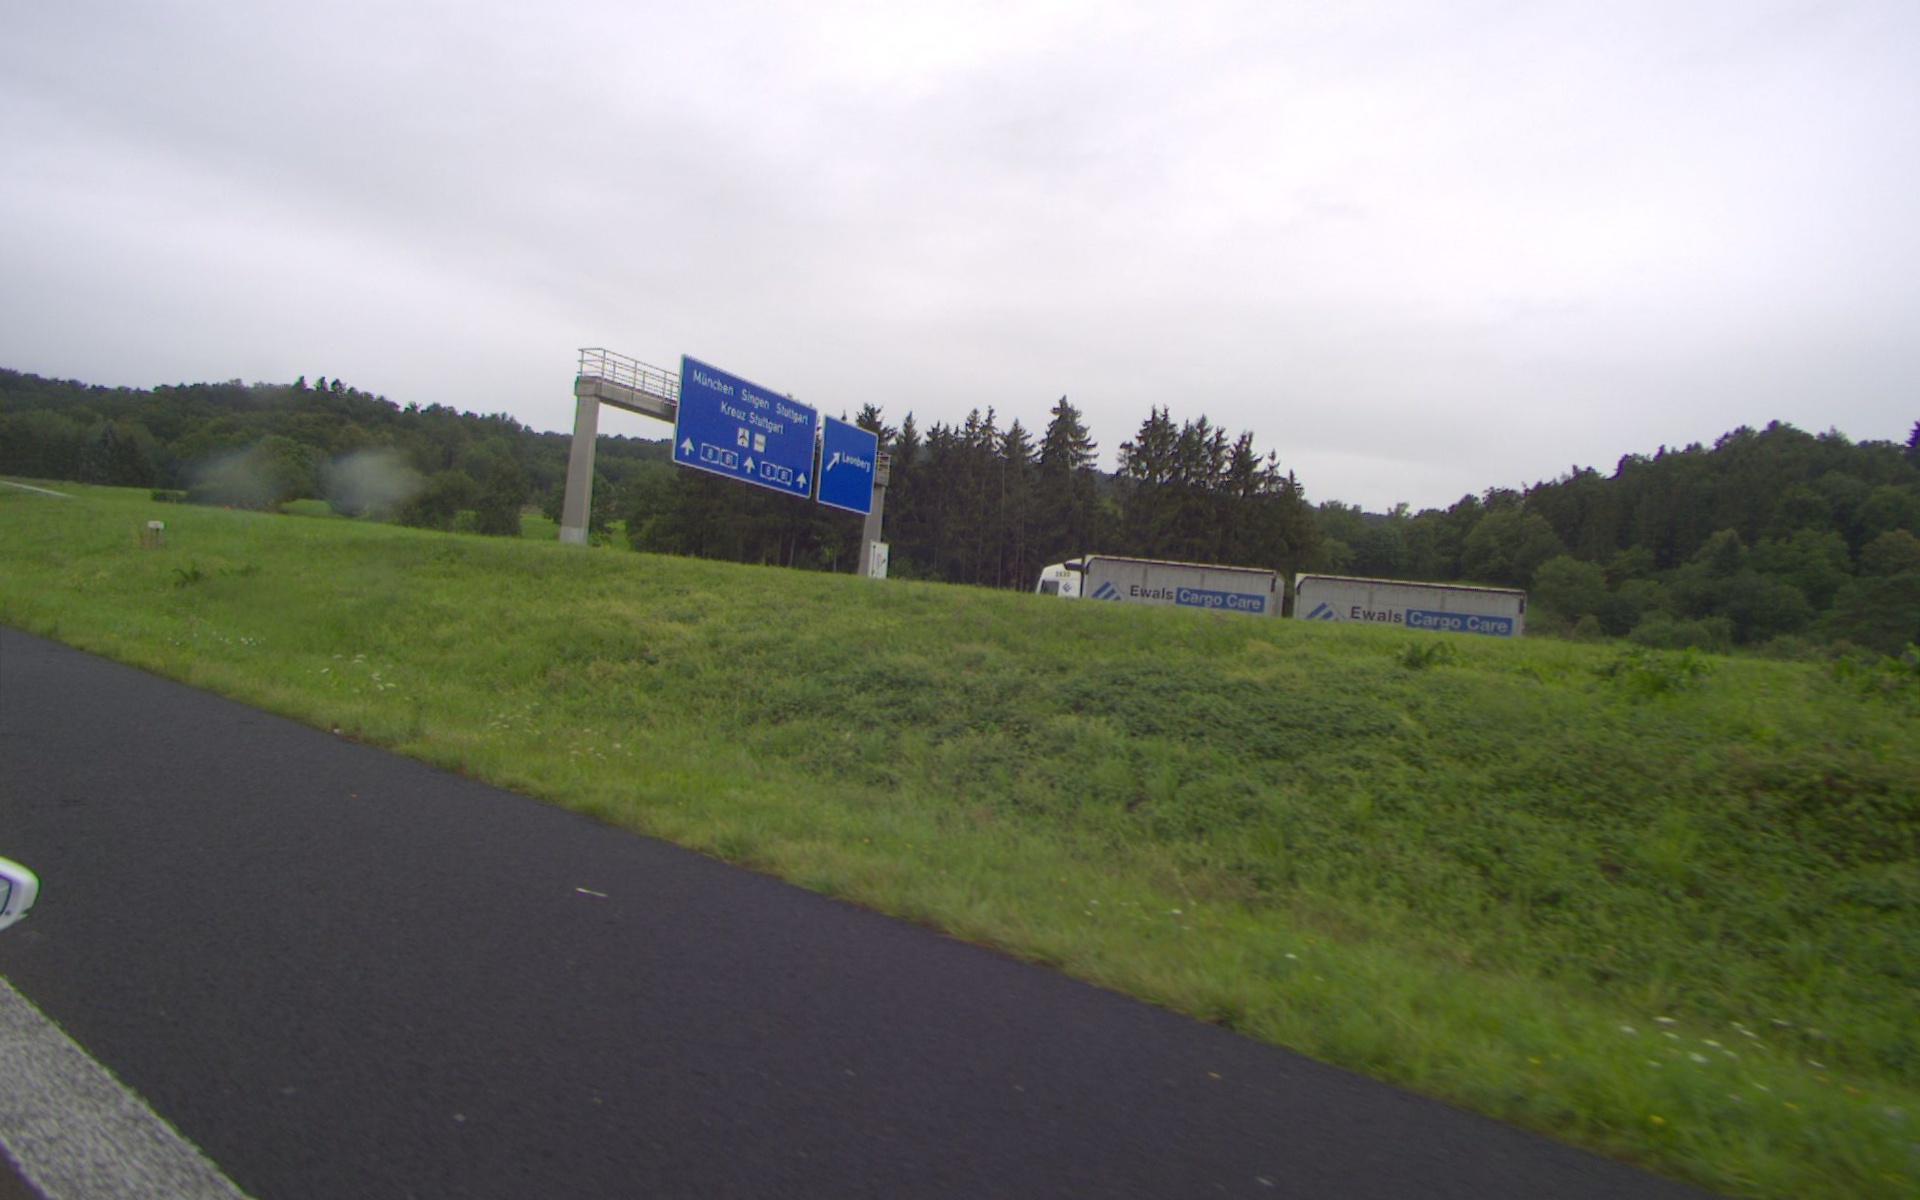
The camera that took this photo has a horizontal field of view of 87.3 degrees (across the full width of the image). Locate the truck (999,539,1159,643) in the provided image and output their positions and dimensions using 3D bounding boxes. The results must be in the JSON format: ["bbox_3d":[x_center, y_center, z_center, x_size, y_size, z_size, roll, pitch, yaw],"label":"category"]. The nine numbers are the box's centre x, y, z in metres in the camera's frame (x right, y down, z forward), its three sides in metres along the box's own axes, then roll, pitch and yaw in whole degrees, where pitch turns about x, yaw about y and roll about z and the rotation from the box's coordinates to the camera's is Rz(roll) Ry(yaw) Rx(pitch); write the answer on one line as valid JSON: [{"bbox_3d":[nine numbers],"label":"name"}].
[{"bbox_3d":[5.093,-0.366,42.936,5.820,3.567,2.948,7,-2,24],"label":"truck"}]

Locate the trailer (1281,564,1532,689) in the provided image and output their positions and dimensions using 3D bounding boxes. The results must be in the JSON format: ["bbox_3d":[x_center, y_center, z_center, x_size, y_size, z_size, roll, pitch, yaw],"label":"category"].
[{"bbox_3d":[16.563,0.971,37.800,7.939,3.567,3.089,7,-2,24],"label":"trailer"}]

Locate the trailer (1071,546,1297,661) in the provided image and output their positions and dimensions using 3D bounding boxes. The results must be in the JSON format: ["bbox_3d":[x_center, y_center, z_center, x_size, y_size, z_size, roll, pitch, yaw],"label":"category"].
[{"bbox_3d":[9.122,0.123,41.156,8.267,3.567,2.948,7,-2,24],"label":"trailer"}]
